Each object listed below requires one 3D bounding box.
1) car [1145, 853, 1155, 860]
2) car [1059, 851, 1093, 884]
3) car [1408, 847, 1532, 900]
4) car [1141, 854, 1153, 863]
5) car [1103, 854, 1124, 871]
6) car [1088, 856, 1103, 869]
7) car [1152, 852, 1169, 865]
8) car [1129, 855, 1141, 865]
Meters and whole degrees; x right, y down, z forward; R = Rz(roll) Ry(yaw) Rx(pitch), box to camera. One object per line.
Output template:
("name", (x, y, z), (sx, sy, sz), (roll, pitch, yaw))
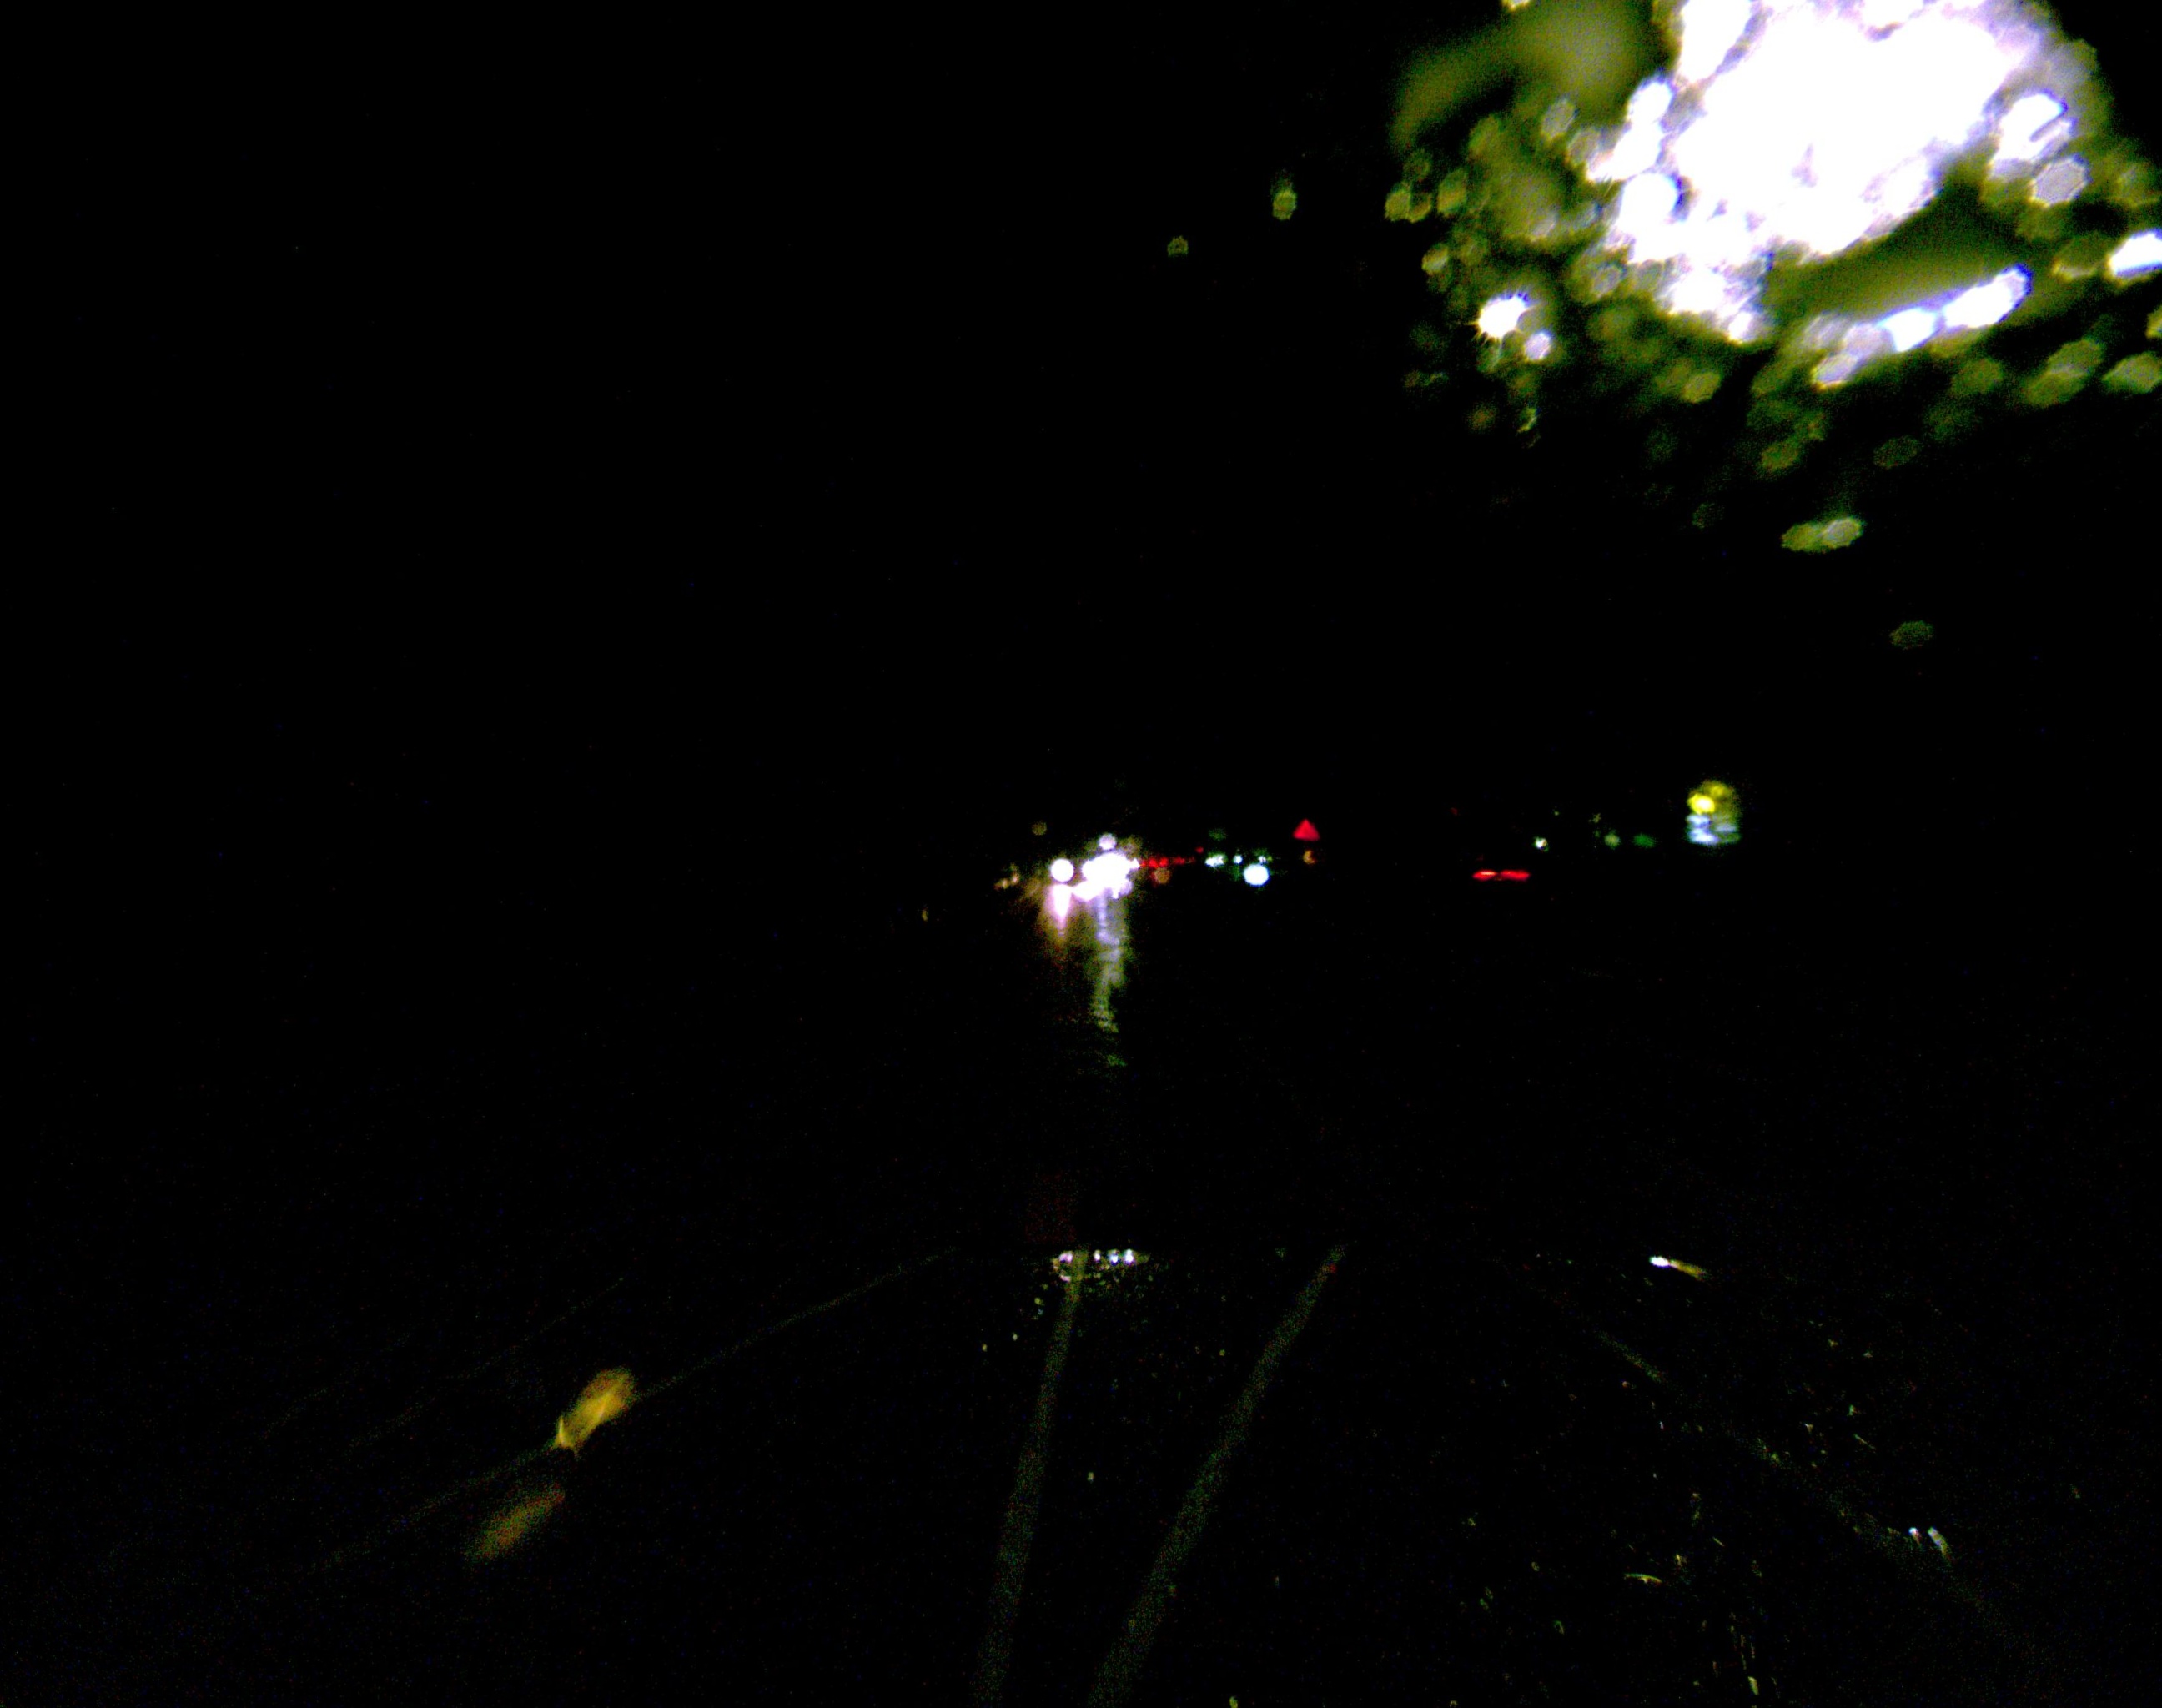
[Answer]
("car", (15.721, 0.589, 172.786), (1.806, 1.416, 4.208), (-1, 1, 11))
("car", (-0.259, 0.754, 45.567), (1.877, 1.825, 4.205), (-2, 0, 1))
("car", (13.727, 0.626, 27.123), (1.713, 1.643, 4.504), (-2, 1, -7))
("car", (10.928, 0.745, 125.547), (1.807, 1.416, 4.207), (-1, 1, 7))
("car", (3.356, 0.852, 78.992), (1.914, 1.694, 4.939), (-1, 0, 1))
("car", (1.900, 1.076, 98.842), (1.807, 1.416, 4.205), (-2, 1, 3))
("car", (10.839, 0.588, 104.323), (2.093, 1.691, 4.578), (-2, 1, 4))
("car", (12.500, 1.359, 175.723), (1.996, 2.002, 4.003), (-1, 1, 13))
